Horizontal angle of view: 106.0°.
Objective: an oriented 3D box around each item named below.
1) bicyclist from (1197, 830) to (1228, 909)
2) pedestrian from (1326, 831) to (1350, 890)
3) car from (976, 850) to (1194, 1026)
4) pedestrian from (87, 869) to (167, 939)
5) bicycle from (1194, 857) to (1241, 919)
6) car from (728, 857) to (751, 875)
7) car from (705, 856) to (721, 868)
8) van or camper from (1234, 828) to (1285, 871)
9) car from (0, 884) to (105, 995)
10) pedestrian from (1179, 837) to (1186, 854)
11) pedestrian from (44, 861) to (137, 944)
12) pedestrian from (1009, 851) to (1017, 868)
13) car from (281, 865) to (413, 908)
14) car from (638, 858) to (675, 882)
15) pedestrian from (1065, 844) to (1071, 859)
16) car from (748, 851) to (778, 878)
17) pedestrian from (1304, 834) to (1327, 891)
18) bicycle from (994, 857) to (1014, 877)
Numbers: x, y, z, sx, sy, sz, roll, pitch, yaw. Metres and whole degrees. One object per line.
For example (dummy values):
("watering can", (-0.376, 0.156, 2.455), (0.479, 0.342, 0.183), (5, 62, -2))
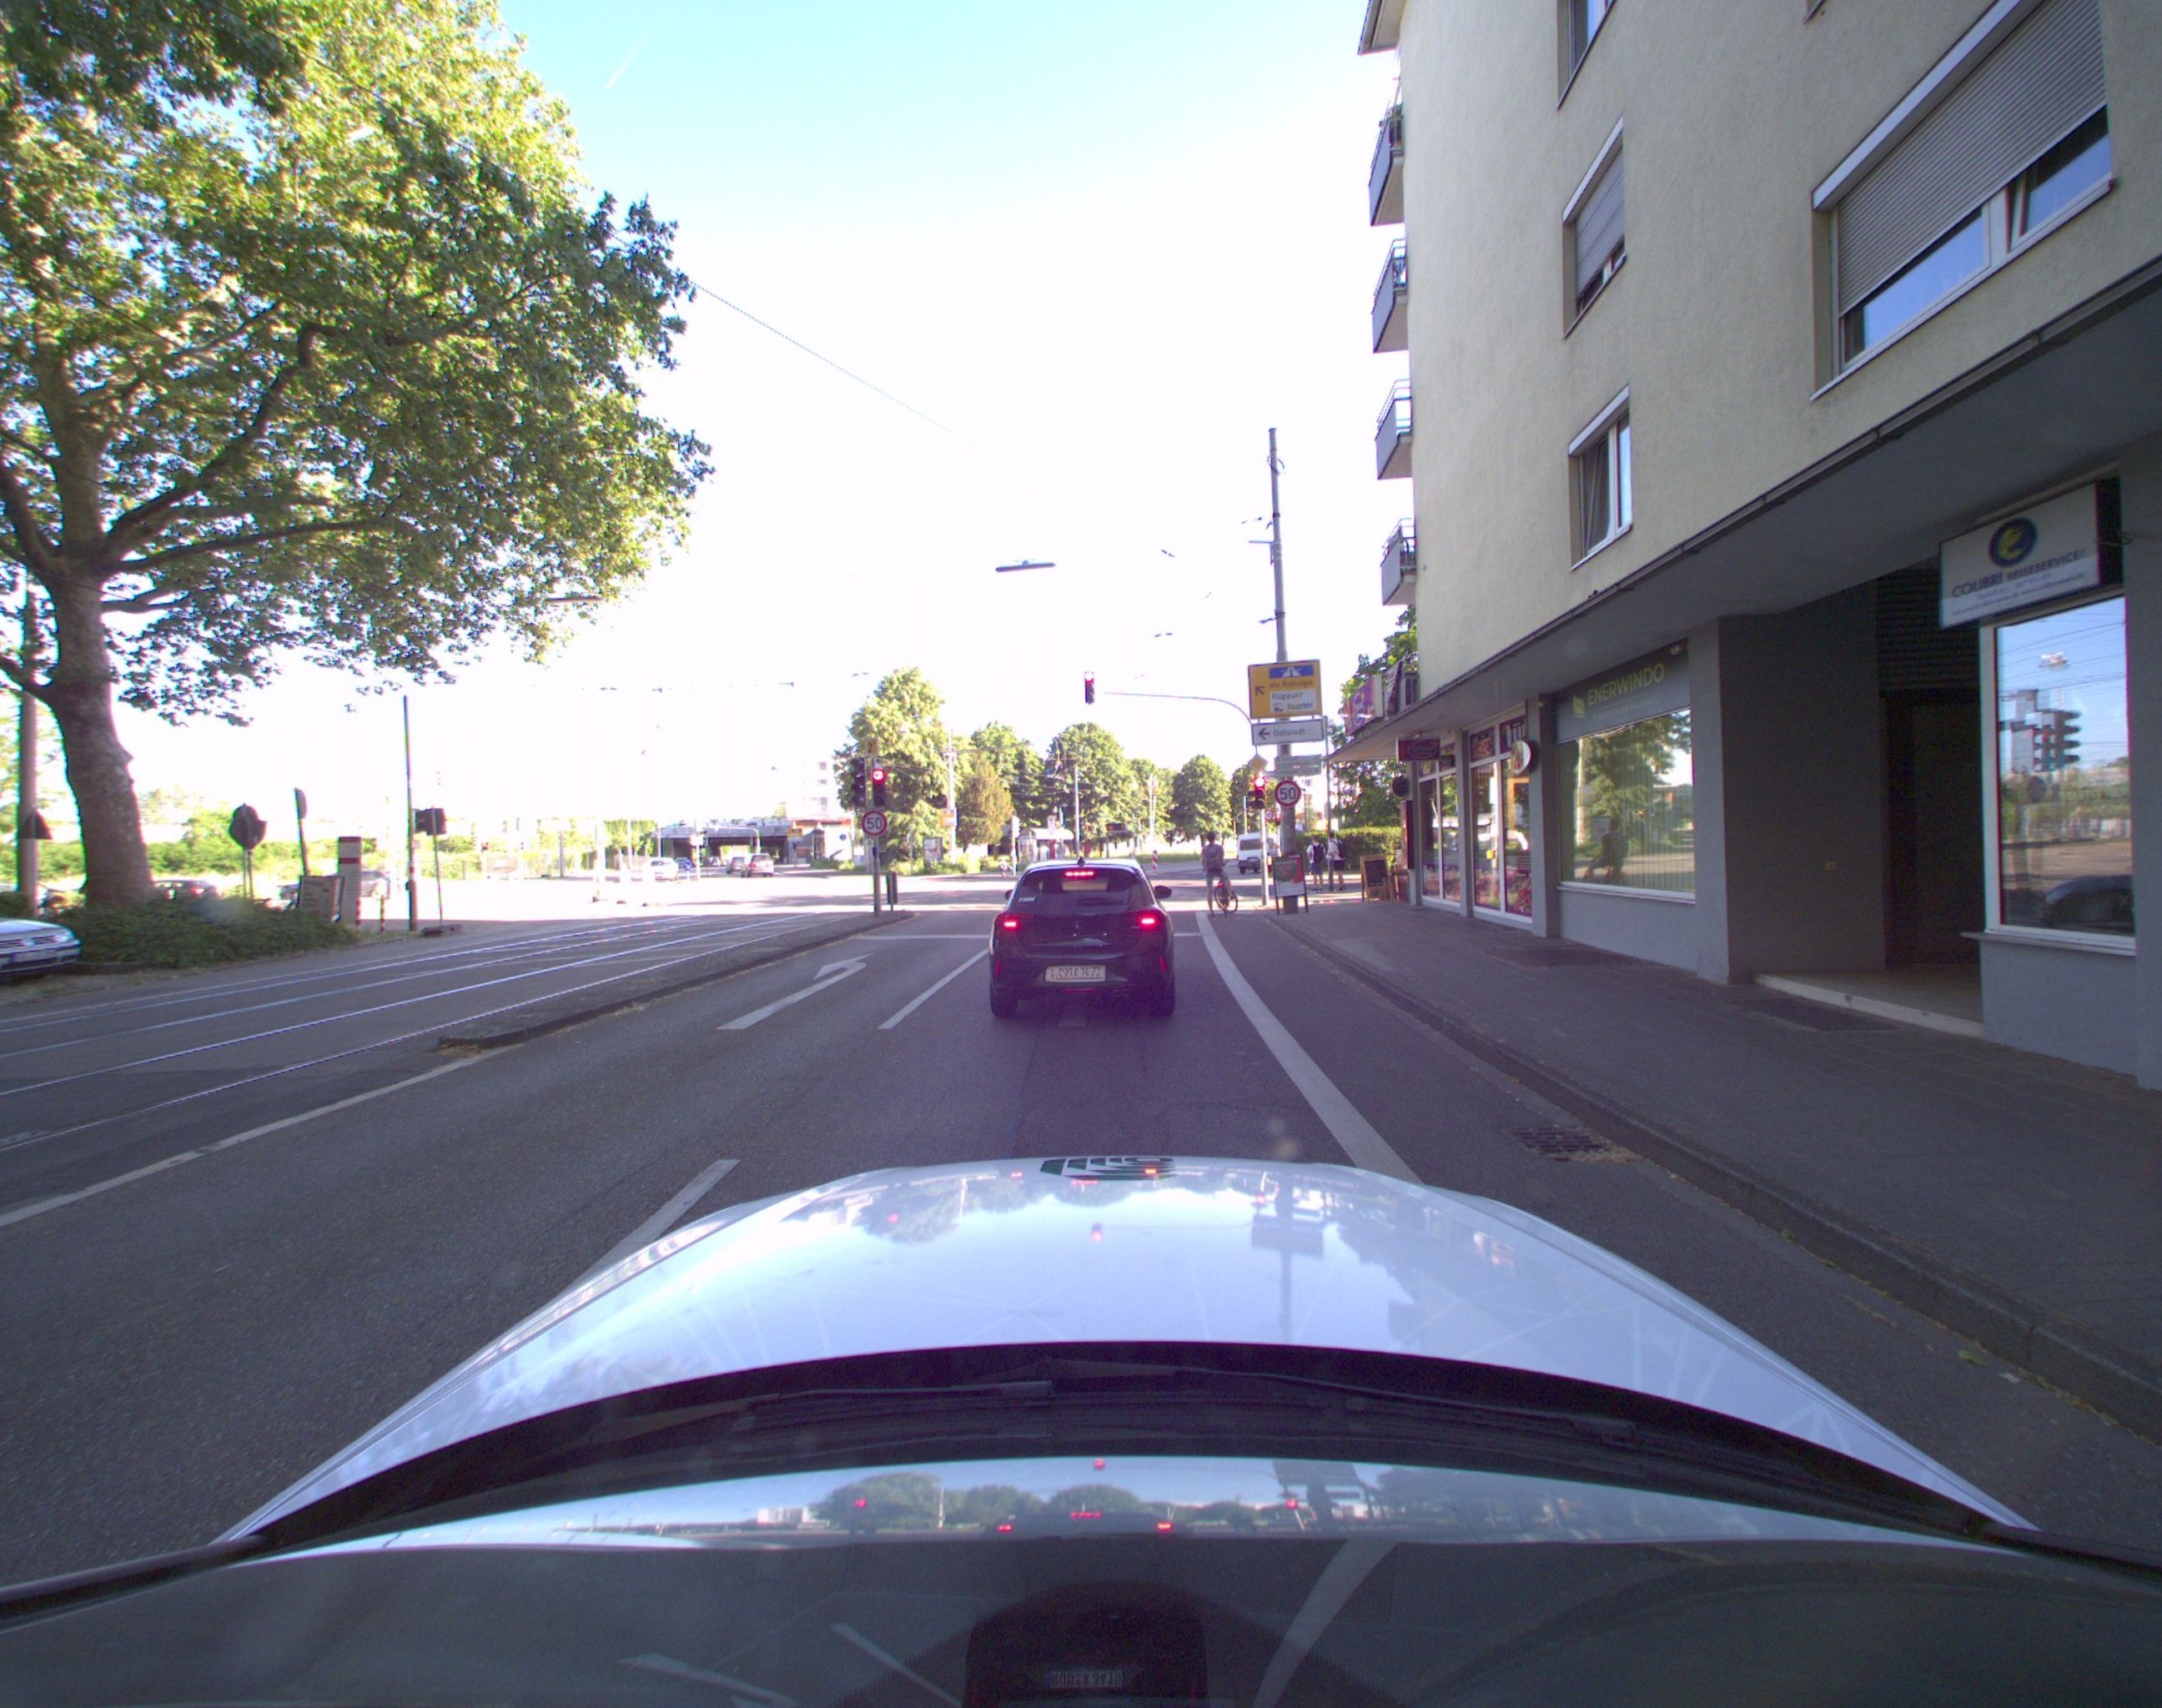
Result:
("bicyclist", (2.880, 0.333, 17.858), (0.529, 1.692, 0.571), (-2, 0, 19))
("pedestrian", (8.019, 0.198, 25.395), (0.627, 1.820, 0.749), (-1, -1, 22))
("car", (0.095, 0.704, 8.937), (1.833, 1.462, 3.985), (-1, 0, 2))
("pedestrian", (-23.271, 1.202, 19.887), (0.842, 1.647, 0.931), (0, -1, 1))
("bicycle", (3.040, 0.716, 18.006), (0.747, 1.235, 2.024), (-2, 0, 16))
("car", (-31.104, 1.073, 74.146), (1.806, 1.519, 4.172), (0, -1, -25))
("car", (-51.333, 1.128, 113.651), (1.892, 1.585, 3.809), (0, -1, -21))
("van or camper", (10.185, -0.221, 46.202), (2.011, 2.310, 4.565), (-1, -1, 23))
("car", (-16.627, 1.196, 11.348), (3.957, 1.453, 1.670), (-1, 0, -1))
("pedestrian", (11.733, -0.986, 93.946), (0.609, 1.872, 0.513), (0, -1, -42))
("pedestrian", (-20.567, 0.982, 16.934), (0.771, 1.661, 0.953), (0, -1, -8))
("pedestrian", (-5.844, 0.490, 69.946), (0.567, 1.472, 0.667), (-2, 0, 7))
("car", (-34.734, 1.498, 38.718), (4.378, 1.764, 1.967), (-2, 0, -34))
("car", (-29.256, 1.066, 56.197), (1.892, 1.585, 3.809), (0, -1, -21))
("pedestrian", (-1.616, -0.262, 100.821), (0.736, 1.872, 0.661), (0, -1, -4))
("car", (-24.238, 0.799, 62.004), (1.917, 1.881, 4.808), (-2, 0, -24))
("pedestrian", (7.348, 0.275, 25.509), (0.627, 1.763, 0.585), (-1, -1, 22))
("bicycle", (-4.392, 0.750, 46.615), (0.793, 1.064, 2.186), (-2, 0, 2))
